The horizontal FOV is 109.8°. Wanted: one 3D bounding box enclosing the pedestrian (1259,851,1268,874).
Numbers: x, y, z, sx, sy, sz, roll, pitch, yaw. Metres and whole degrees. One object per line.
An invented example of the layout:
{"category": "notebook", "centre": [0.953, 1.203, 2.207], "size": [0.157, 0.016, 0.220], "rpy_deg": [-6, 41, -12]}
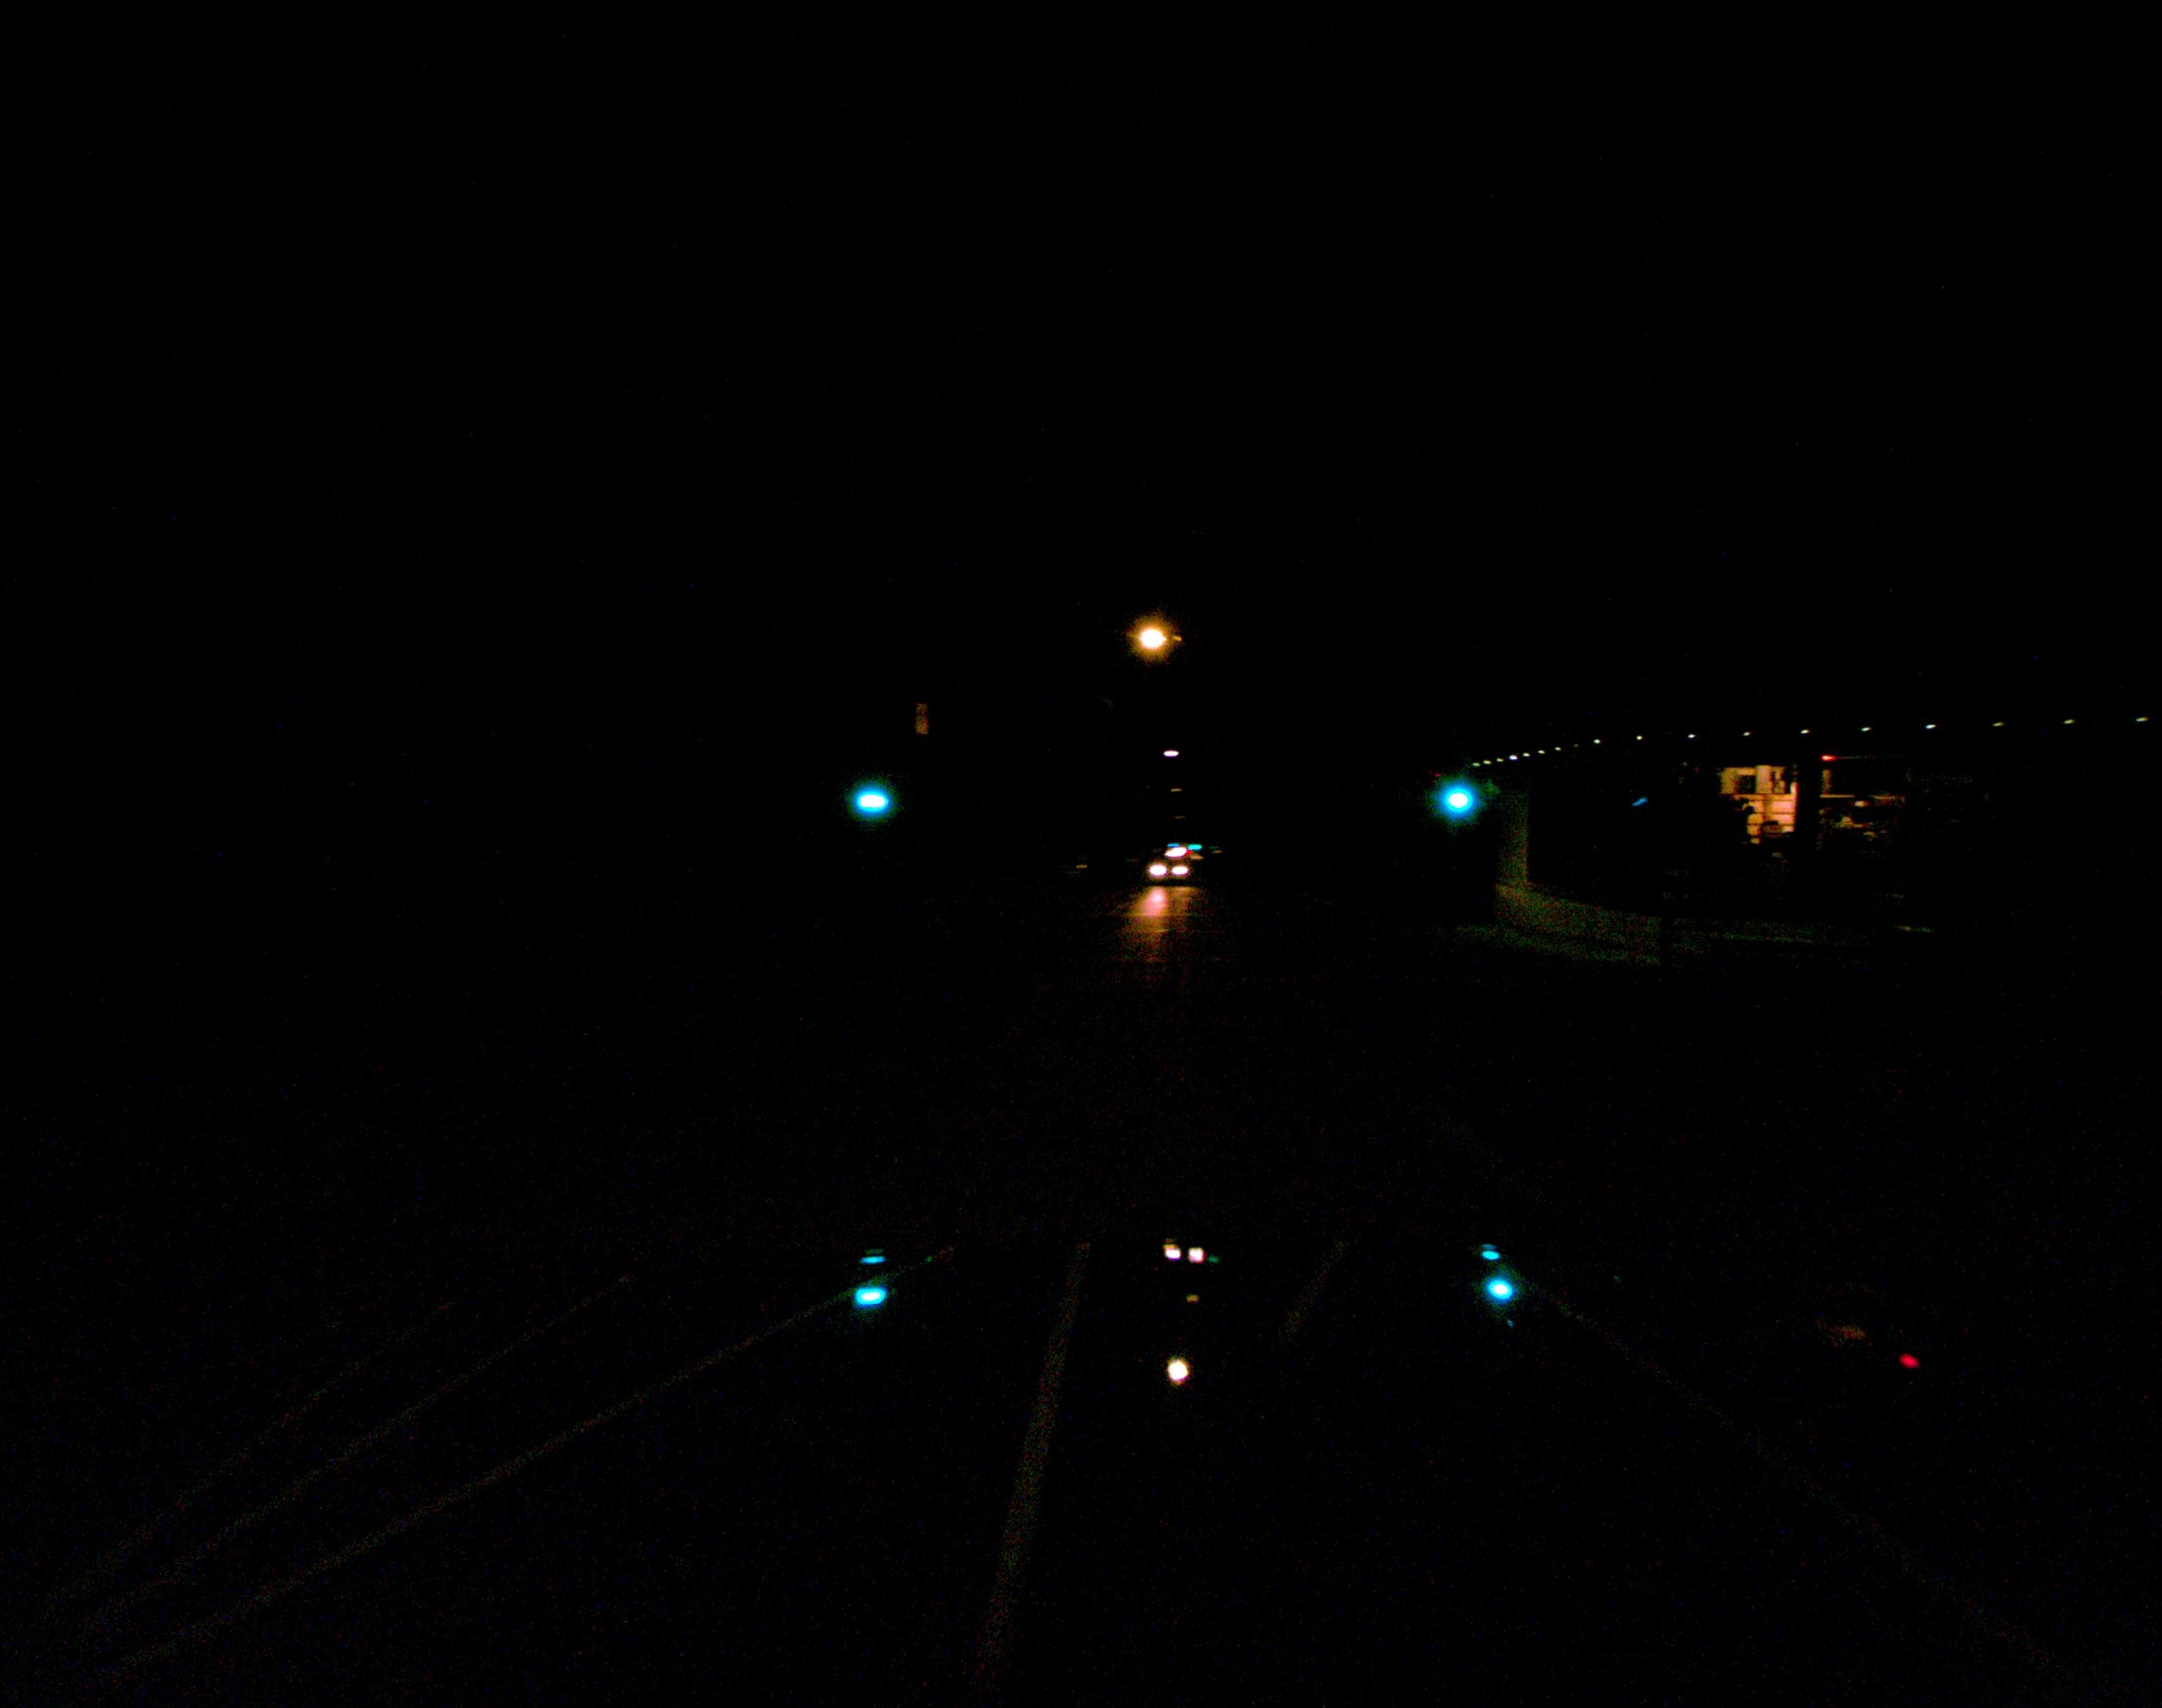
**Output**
{"category": "pedestrian", "centre": [12.565, 0.577, 52.315], "size": [0.560, 1.521, 0.590], "rpy_deg": [-1, 1, 8]}

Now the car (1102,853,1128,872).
{"category": "car", "centre": [2.642, 0.645, 58.420], "size": [1.535, 1.407, 3.410], "rpy_deg": [1, 0, 9]}

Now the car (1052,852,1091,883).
{"category": "car", "centre": [-0.468, 0.677, 39.831], "size": [1.625, 1.485, 3.410], "rpy_deg": [1, 0, 6]}

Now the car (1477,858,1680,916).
{"category": "car", "centre": [12.756, 0.808, 19.699], "size": [3.995, 1.355, 1.803], "rpy_deg": [1, 1, 7]}

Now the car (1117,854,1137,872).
{"category": "car", "centre": [4.365, 0.808, 71.769], "size": [1.535, 1.583, 3.559], "rpy_deg": [1, 0, 9]}

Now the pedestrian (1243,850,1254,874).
{"category": "pedestrian", "centre": [11.401, 0.537, 51.771], "size": [0.649, 1.632, 0.748], "rpy_deg": [-1, 1, 10]}

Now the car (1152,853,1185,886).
{"category": "car", "centre": [4.401, 0.749, 38.268], "size": [1.512, 1.493, 3.051], "rpy_deg": [-2, 1, 6]}

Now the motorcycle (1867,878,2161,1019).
{"category": "motorcycle", "centre": [9.438, 0.878, 7.664], "size": [0.619, 1.222, 2.035], "rpy_deg": [-2, 1, -37]}

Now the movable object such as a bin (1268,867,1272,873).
{"category": "movable object such as a bin", "centre": [13.007, 1.072, 52.278], "size": [0.231, 0.404, 0.467], "rpy_deg": [-1, 0, 10]}
